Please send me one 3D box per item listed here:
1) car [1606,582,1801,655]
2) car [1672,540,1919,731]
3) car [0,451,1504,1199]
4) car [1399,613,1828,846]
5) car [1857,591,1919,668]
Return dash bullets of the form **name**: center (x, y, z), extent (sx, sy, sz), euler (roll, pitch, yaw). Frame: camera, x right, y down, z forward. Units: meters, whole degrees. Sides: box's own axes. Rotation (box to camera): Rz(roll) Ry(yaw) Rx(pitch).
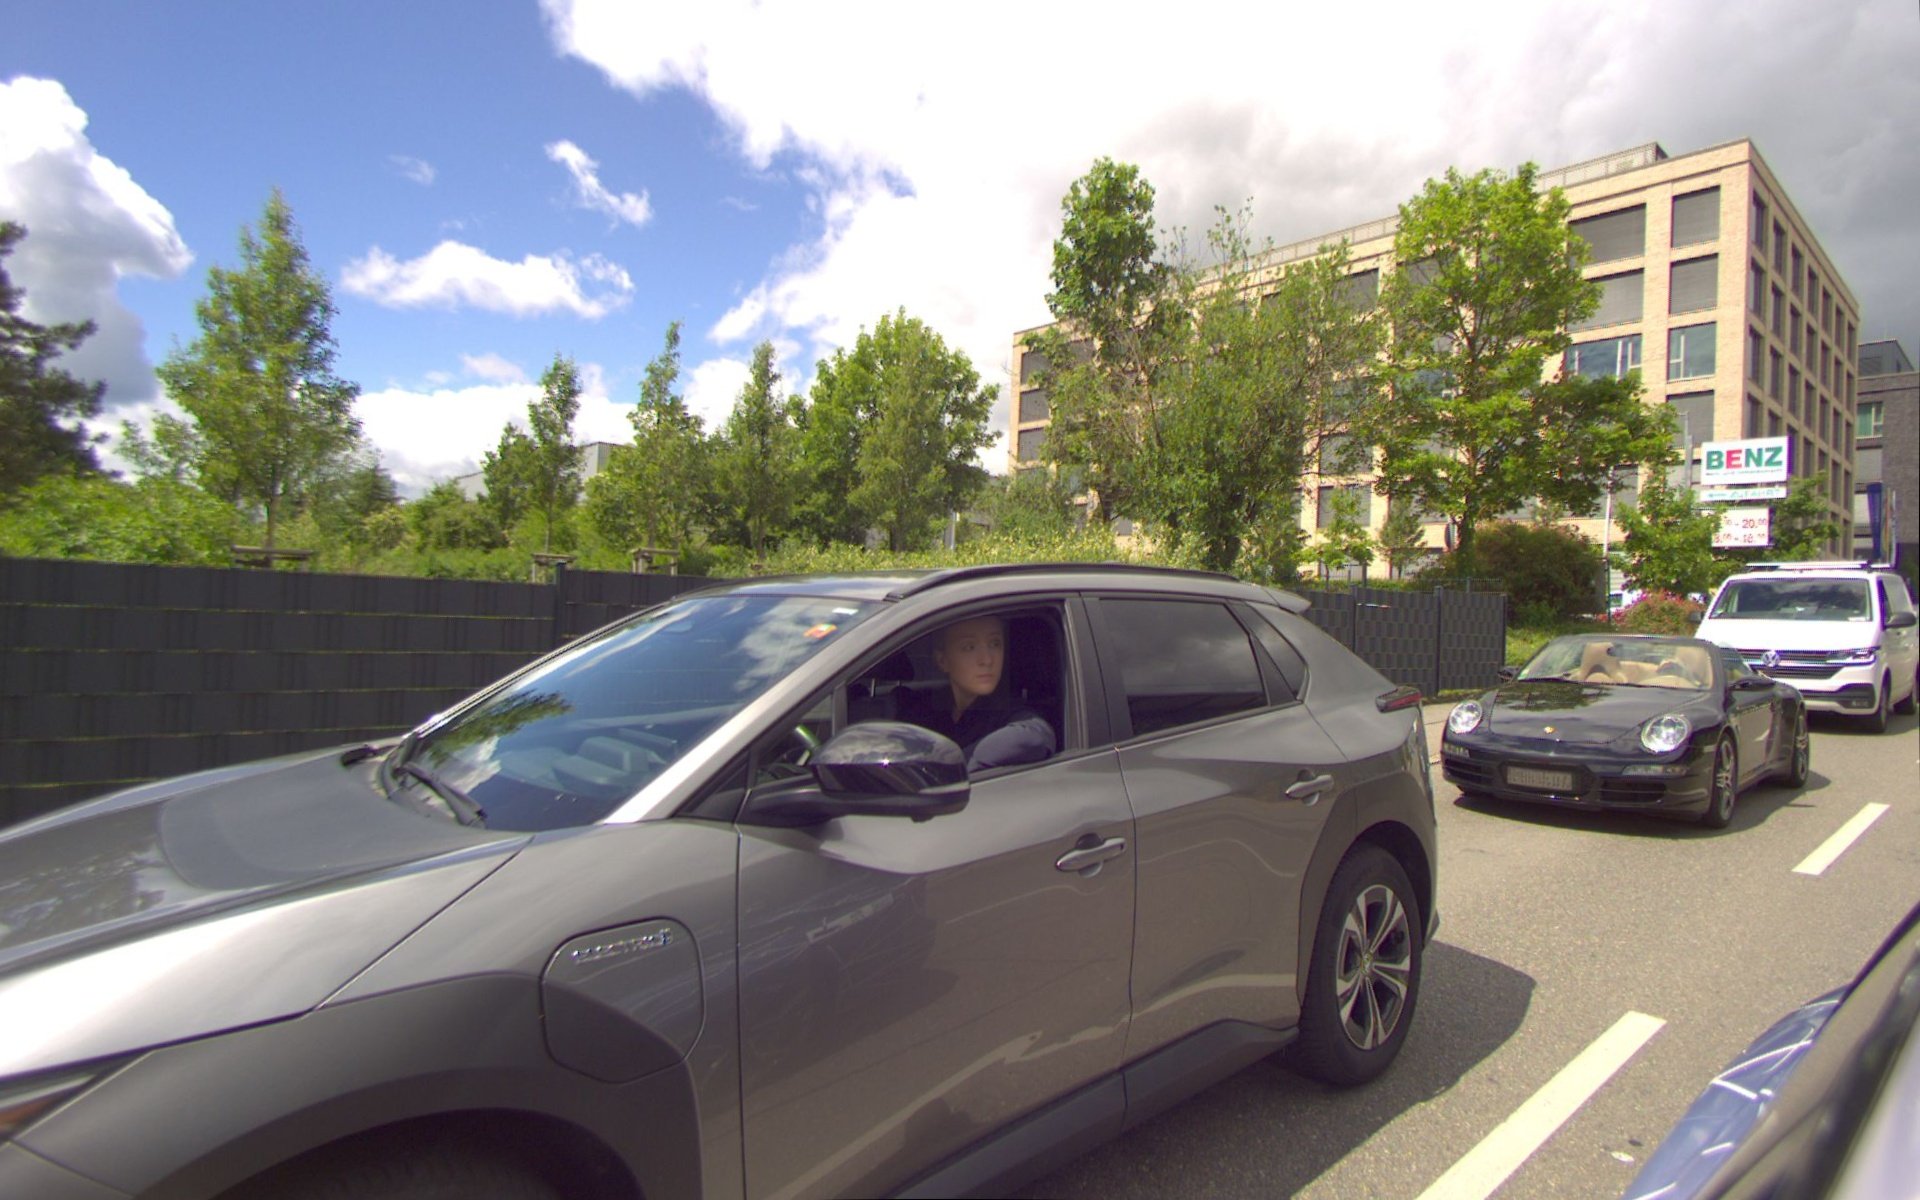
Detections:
- **car**: center (19.950, 0.424, 27.257), extent (1.793, 1.754, 3.991), euler (0, 2, -44)
- **car**: center (11.301, 0.380, 13.328), extent (4.677, 2.075, 2.087), euler (0, 0, -41)
- **car**: center (-0.358, 0.648, 2.950), extent (4.501, 1.649, 1.997), euler (0, 1, -42)
- **car**: center (5.293, 0.796, 8.000), extent (3.967, 1.310, 1.823), euler (0, 0, -41)
- **car**: center (20.238, 0.587, 21.081), extent (3.930, 1.481, 1.817), euler (0, 2, -41)
